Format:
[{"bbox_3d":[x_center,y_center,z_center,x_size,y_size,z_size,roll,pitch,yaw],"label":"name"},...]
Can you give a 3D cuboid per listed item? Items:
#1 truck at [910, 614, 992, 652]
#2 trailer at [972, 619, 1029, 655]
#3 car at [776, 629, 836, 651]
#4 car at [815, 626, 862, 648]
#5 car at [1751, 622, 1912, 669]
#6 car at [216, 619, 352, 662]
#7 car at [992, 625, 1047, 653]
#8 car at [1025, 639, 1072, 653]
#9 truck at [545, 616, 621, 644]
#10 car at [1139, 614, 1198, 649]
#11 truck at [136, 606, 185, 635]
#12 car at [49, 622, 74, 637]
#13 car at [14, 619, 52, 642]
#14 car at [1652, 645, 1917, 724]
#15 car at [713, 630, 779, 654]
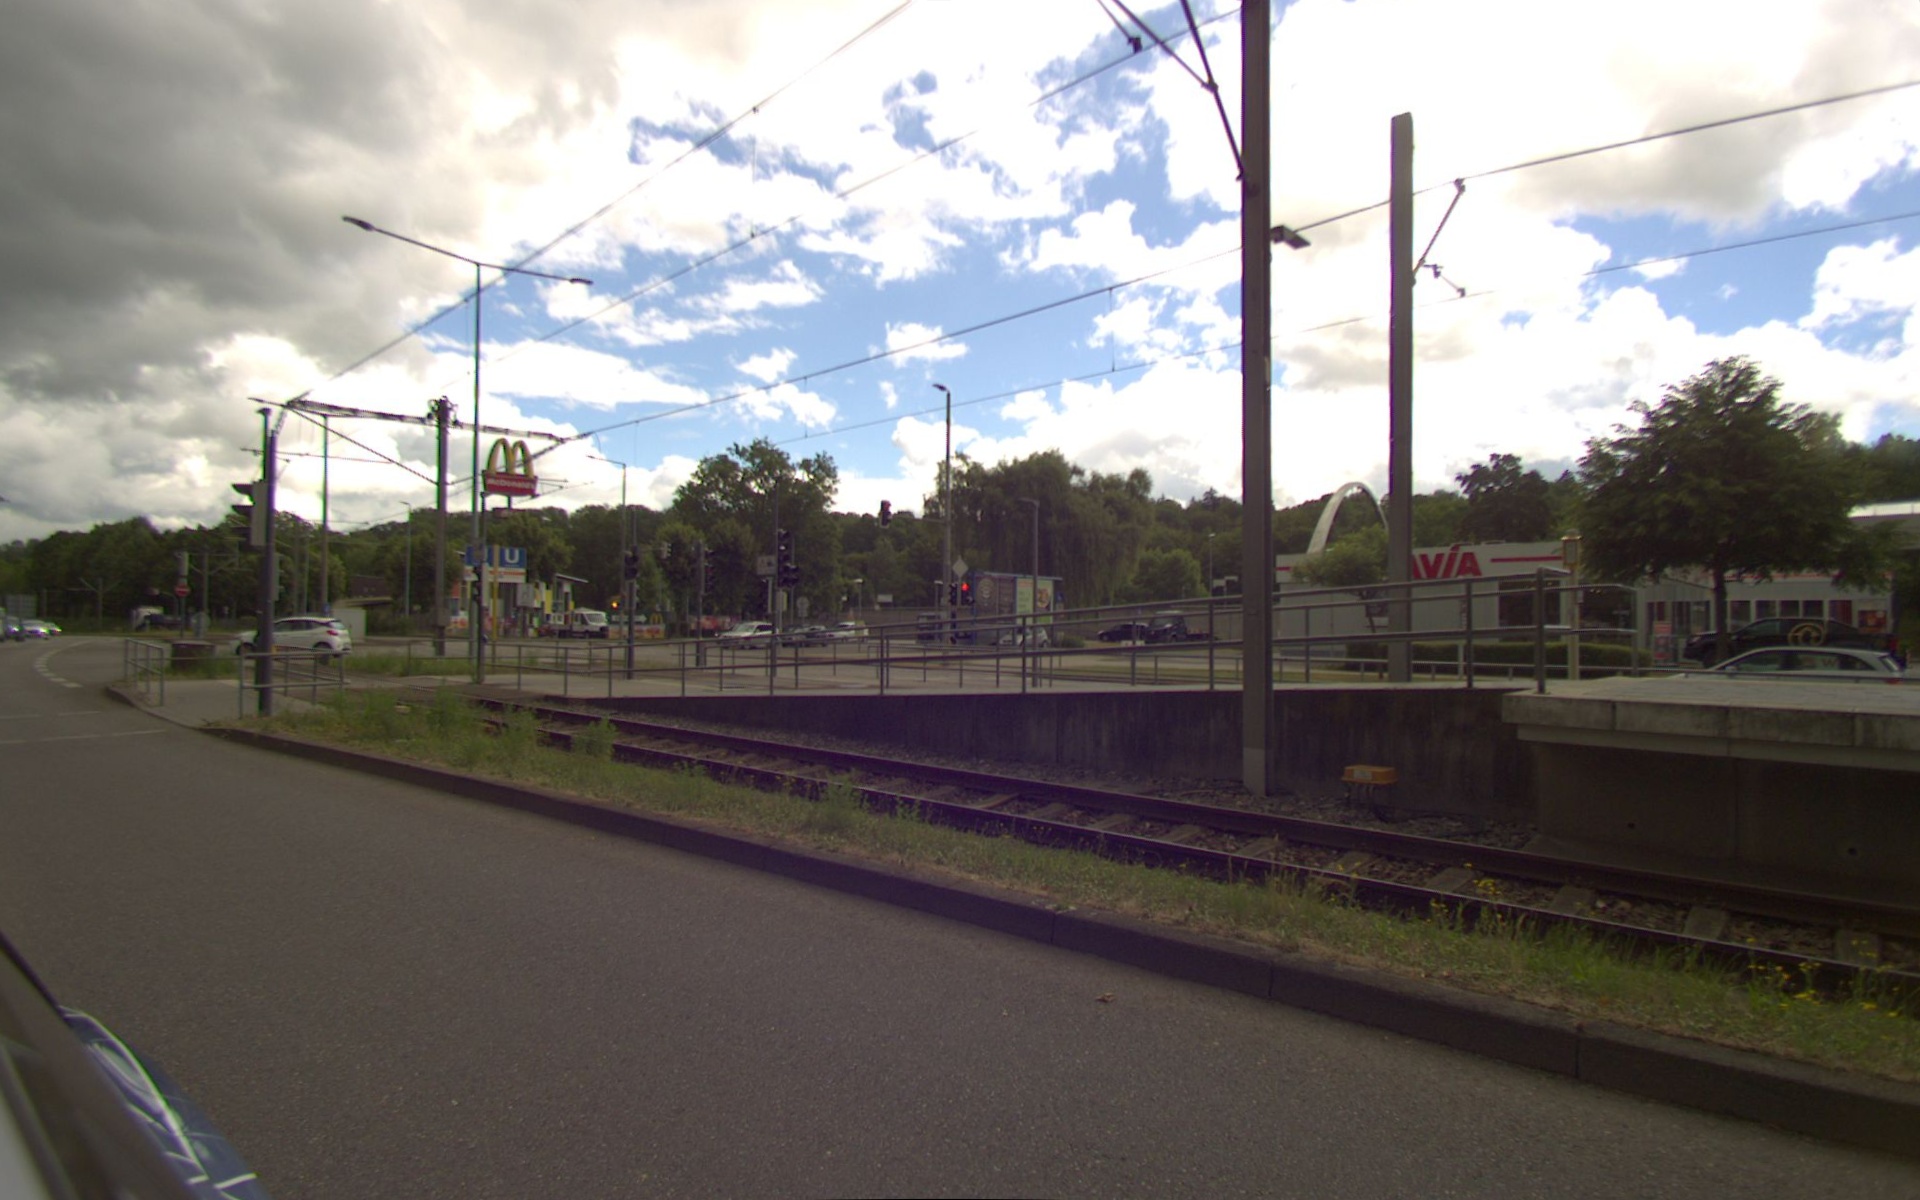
[{"bbox_3d":[-0.564,2.289,69.487,2.385,2.513,5.745,-1,-2,41],"label":"truck"},{"bbox_3d":[2.798,2.549,69.203,1.559,2.275,4.333,-1,-3,39],"label":"trailer"},{"bbox_3d":[-10.505,2.743,69.200,1.790,1.443,4.238,0,-2,31],"label":"car"},{"bbox_3d":[-9.289,2.853,77.589,1.721,1.566,3.602,0,-3,31],"label":"car"},{"bbox_3d":[26.616,1.352,31.010,3.635,1.360,1.596,-1,-2,42],"label":"car"},{"bbox_3d":[-24.503,1.471,36.808,3.765,1.465,1.636,1,-2,-14],"label":"car"},{"bbox_3d":[3.931,2.574,66.820,1.753,1.756,3.807,-1,-2,38],"label":"car"},{"bbox_3d":[7.809,4.059,89.719,3.873,1.130,1.558,0,-3,30],"label":"car"},{"bbox_3d":[-28.180,2.231,75.476,6.193,1.920,2.566,0,-3,40],"label":"truck"},{"bbox_3d":[13.264,2.028,64.152,1.845,2.067,4.324,-1,-3,39],"label":"car"},{"bbox_3d":[-106.134,2.710,134.249,8.695,3.587,3.391,-1,-3,41],"label":"truck"},{"bbox_3d":[-99.729,3.263,112.375,1.938,1.564,4.006,4,-3,-41],"label":"car"},{"bbox_3d":[-69.523,2.277,75.914,1.803,1.564,4.007,4,-3,-39],"label":"car"},{"bbox_3d":[16.530,1.642,20.491,4.028,1.360,1.596,-1,-2,41],"label":"car"},{"bbox_3d":[-13.544,2.639,64.359,1.787,1.443,4.377,0,-2,27],"label":"car"}]
